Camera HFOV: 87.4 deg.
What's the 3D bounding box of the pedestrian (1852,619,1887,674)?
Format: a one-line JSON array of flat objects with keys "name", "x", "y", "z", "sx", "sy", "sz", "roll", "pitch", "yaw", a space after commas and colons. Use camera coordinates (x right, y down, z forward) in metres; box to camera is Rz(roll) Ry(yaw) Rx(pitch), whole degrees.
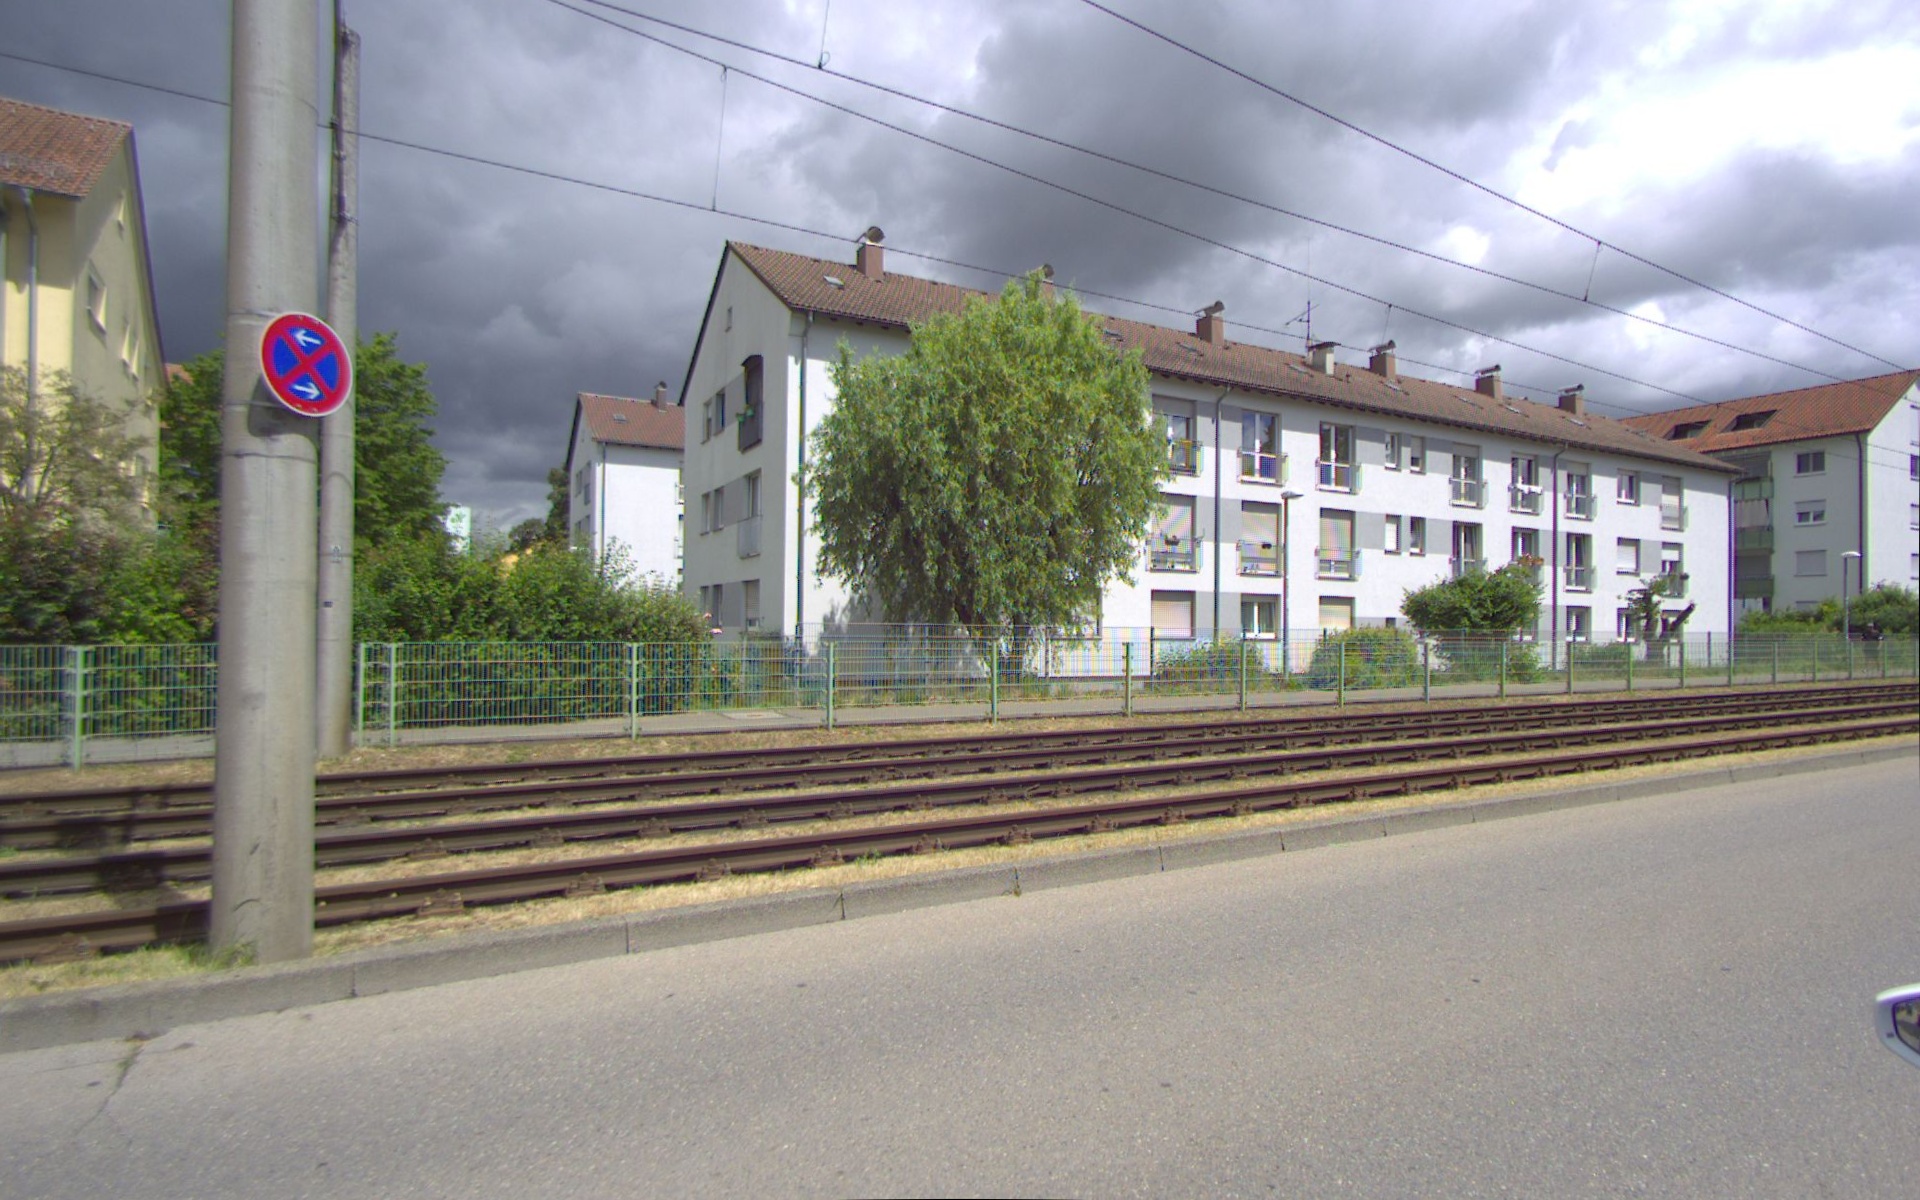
[{"name": "pedestrian", "x": 30.986, "y": 1.583, "z": 34.221, "sx": 0.759, "sy": 1.873, "sz": 0.656, "roll": 1, "pitch": -2, "yaw": -30}]
